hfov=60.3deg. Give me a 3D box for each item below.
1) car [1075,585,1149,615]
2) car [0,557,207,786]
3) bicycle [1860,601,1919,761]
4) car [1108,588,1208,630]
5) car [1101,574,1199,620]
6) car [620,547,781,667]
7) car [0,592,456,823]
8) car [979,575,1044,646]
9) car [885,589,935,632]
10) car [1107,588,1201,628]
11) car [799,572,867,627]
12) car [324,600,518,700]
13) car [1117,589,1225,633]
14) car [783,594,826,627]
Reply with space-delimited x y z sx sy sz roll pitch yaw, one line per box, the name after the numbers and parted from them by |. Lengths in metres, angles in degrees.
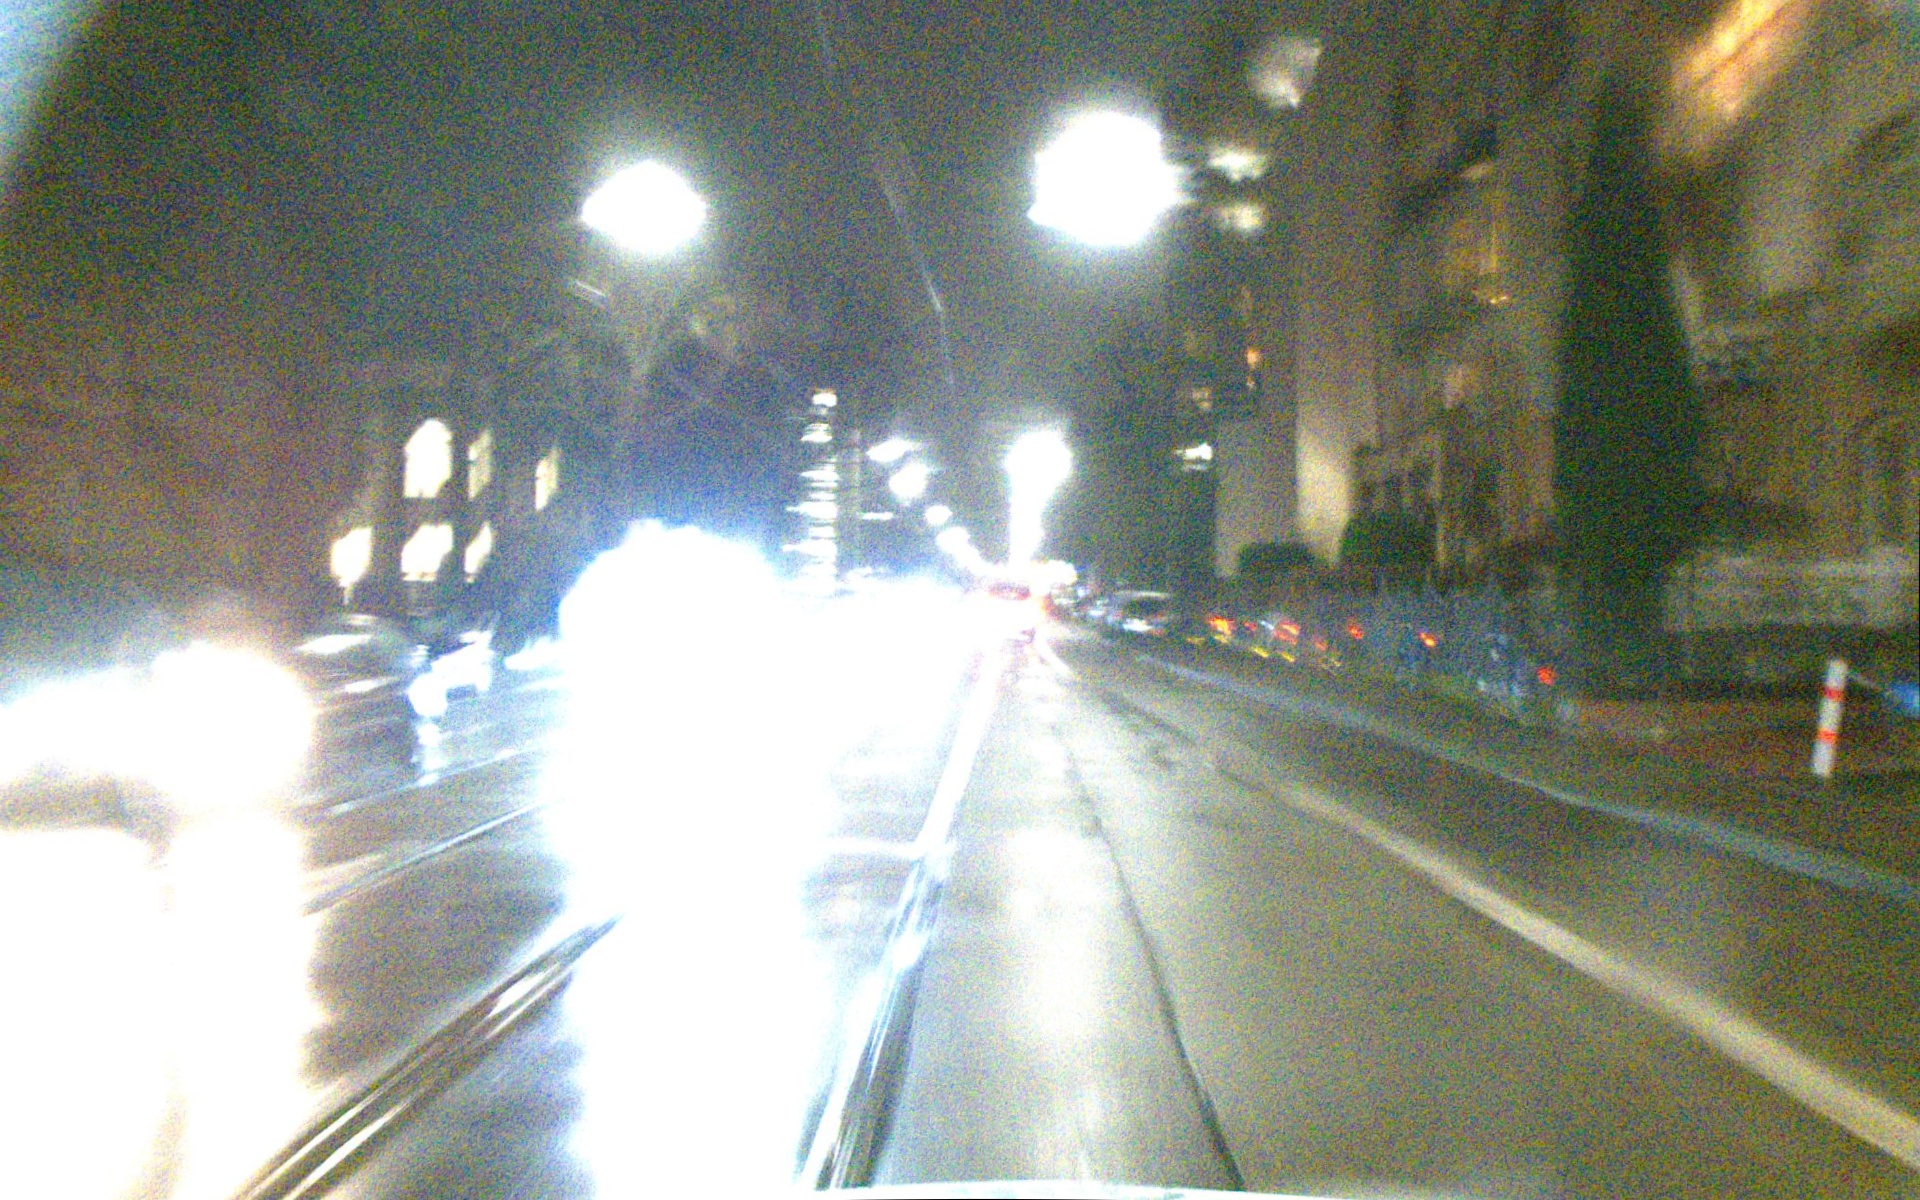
8.191 0.024 88.999 3.852 1.560 1.795 1 0 -40 | car
-8.955 0.573 14.713 1.952 1.857 5.310 2 1 1 | car
7.983 0.575 12.732 1.777 1.184 0.493 -3 -1 -1 | bicycle
7.420 0.325 61.797 1.776 1.514 3.830 0 0 44 | car
8.365 -0.127 72.669 4.135 1.871 1.935 1 0 -40 | car
-4.516 0.087 29.498 1.886 1.912 4.639 -2 1 2 | car
-5.488 0.709 12.975 1.755 1.490 3.902 -1 1 2 | car
1.841 0.352 60.678 2.171 2.484 5.384 0 0 0 | car
-2.241 0.450 75.777 1.898 1.847 4.386 -2 1 2 | car
7.655 0.321 65.096 3.804 1.463 1.575 1 0 -43 | car
-3.730 -0.024 49.208 1.617 1.505 4.205 -2 0 0 | car
-8.566 0.746 26.652 1.729 1.431 4.141 2 0 0 | car
7.524 0.385 58.799 3.756 1.483 1.744 1 0 -41 | car
-7.062 0.477 75.390 1.576 1.453 3.808 1 0 0 | car
